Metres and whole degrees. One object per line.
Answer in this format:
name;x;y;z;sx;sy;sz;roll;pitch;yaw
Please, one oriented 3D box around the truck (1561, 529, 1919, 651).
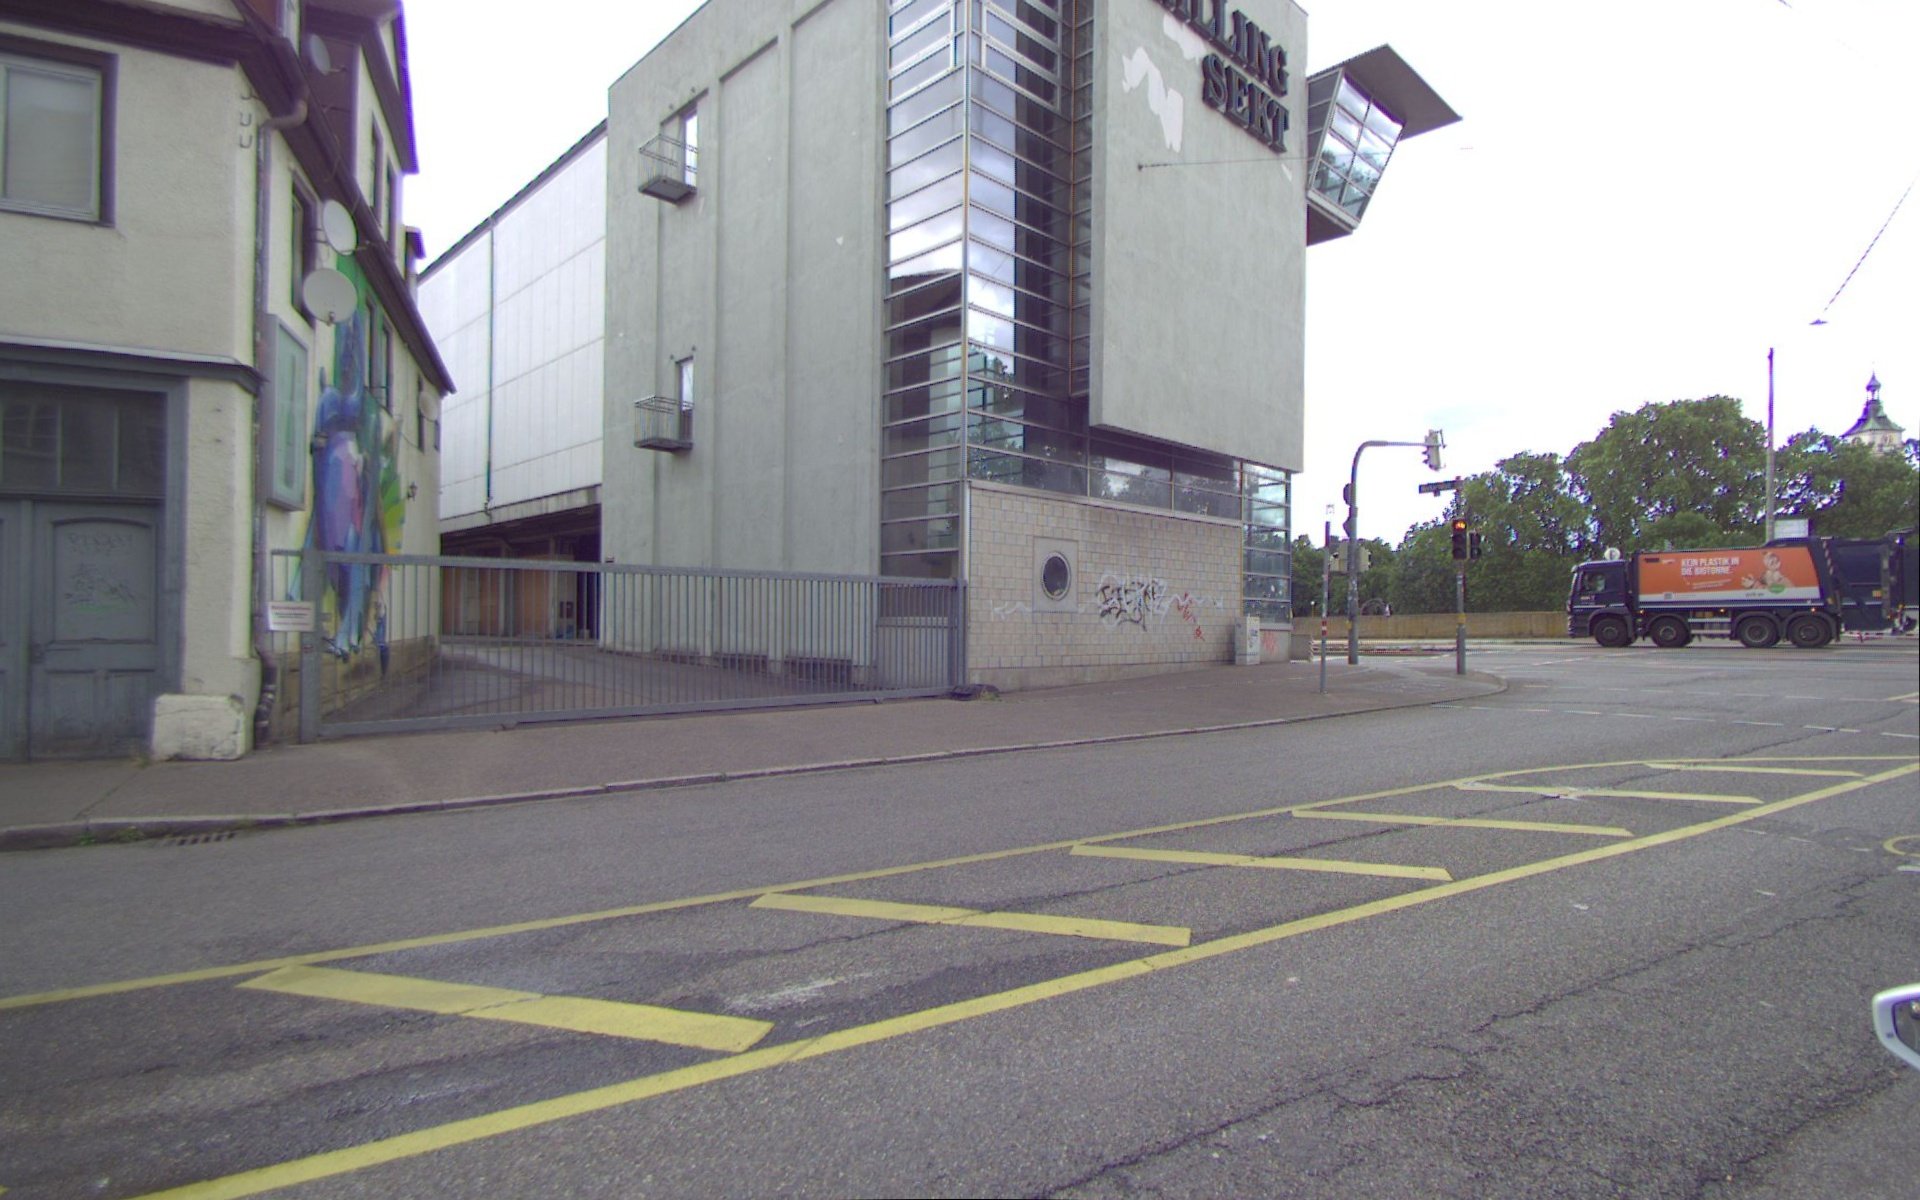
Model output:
truck;26.868;-0.291;34.882;10.080;3.745;2.257;0;-1;45
